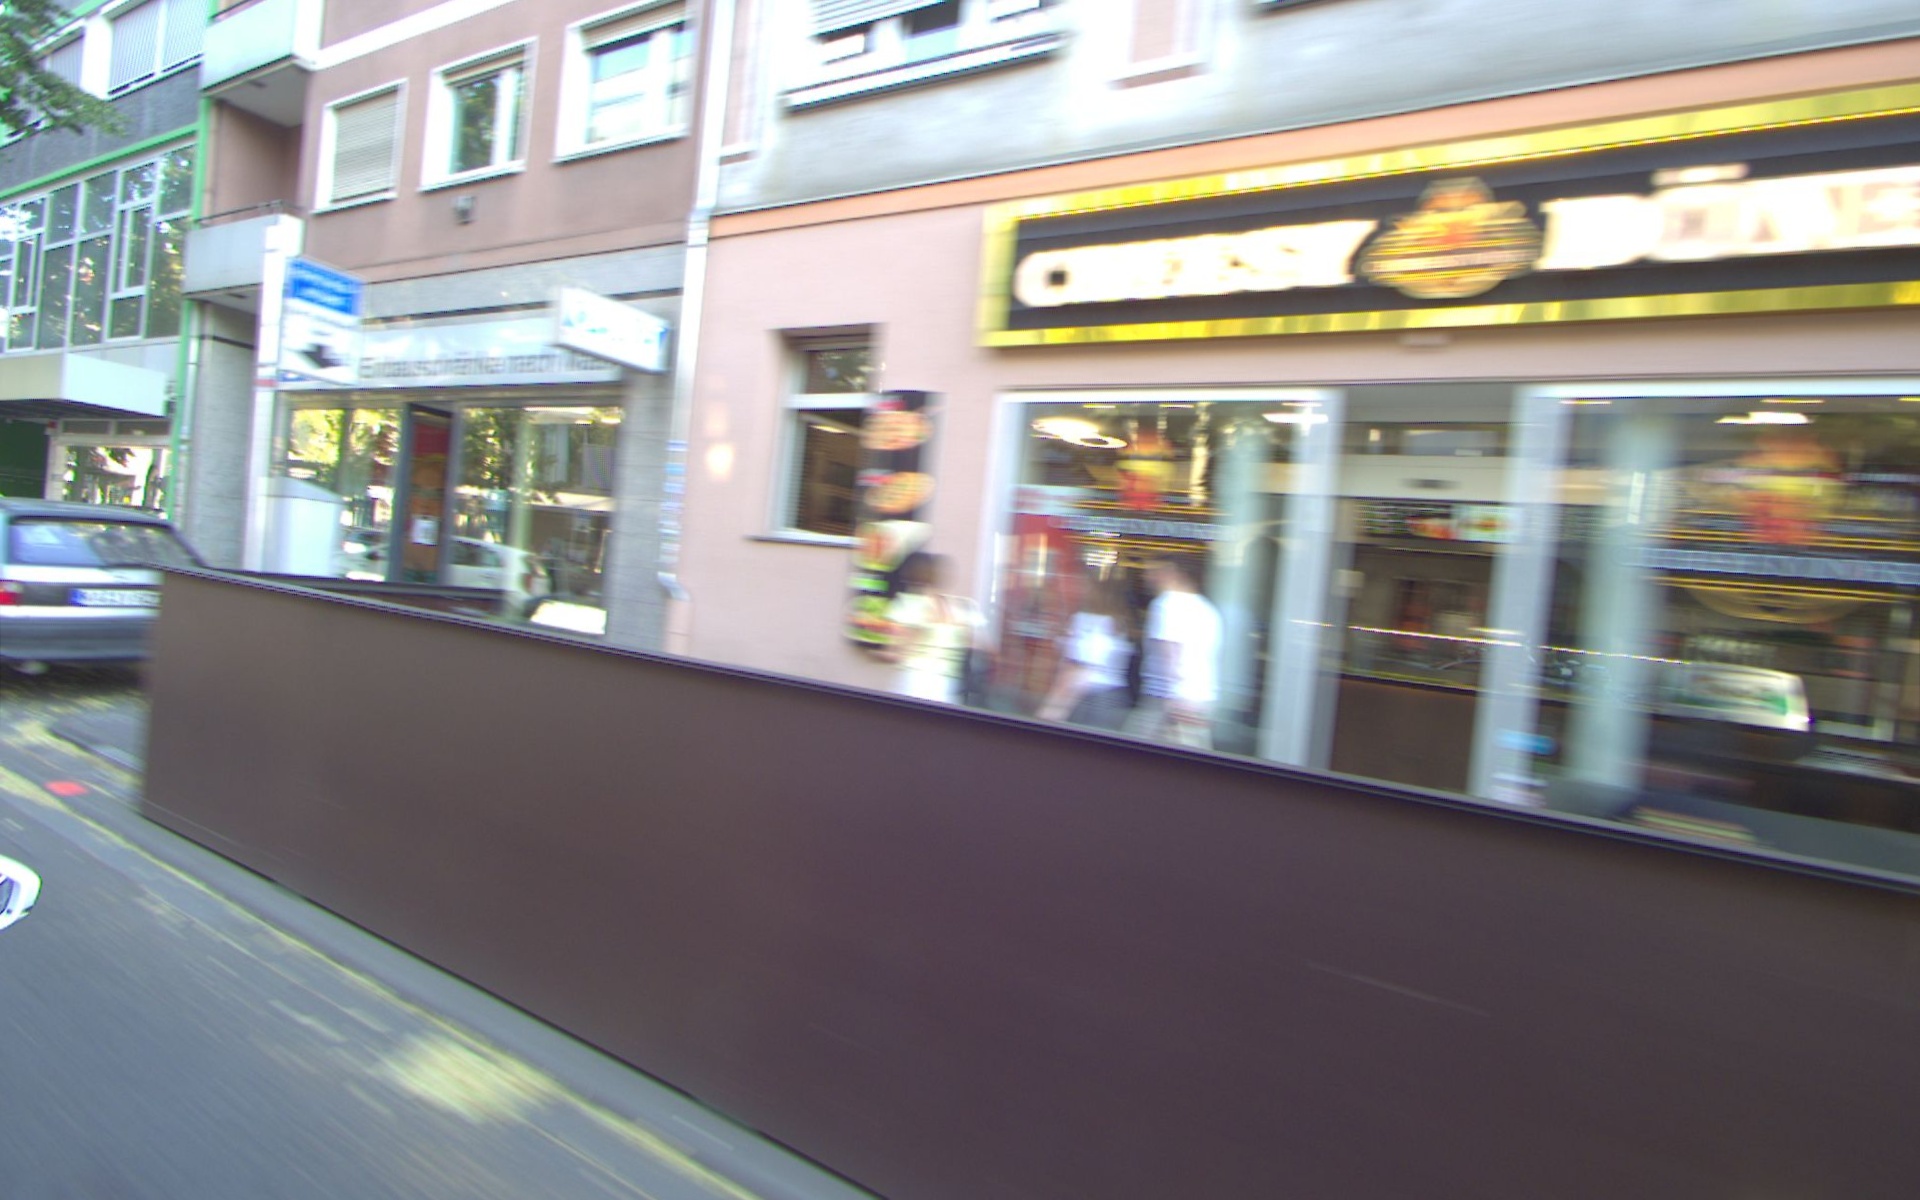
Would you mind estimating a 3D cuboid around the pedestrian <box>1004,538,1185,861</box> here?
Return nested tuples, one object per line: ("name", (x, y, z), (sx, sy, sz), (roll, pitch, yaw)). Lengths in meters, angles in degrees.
("pedestrian", (0.764, 0.530, 5.663), (0.657, 1.652, 0.606), (7, 1, 31))

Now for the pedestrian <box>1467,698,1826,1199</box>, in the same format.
("pedestrian", (1.928, 1.002, 2.896), (0.637, 1.324, 0.685), (7, 3, 33))

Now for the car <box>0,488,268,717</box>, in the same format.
("car", (-7.714, -0.139, 8.457), (3.927, 1.494, 1.823), (7, 4, 34))

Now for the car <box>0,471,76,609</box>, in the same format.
("car", (-11.798, -0.725, 11.131), (1.639, 1.606, 3.607), (4, 3, -17))

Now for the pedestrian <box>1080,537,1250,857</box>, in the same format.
("pedestrian", (1.241, 0.552, 6.058), (0.657, 1.761, 0.606), (7, 1, 31))

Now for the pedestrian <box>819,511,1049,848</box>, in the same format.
("pedestrian", (-0.136, 0.404, 5.569), (0.841, 1.652, 0.747), (7, 1, 31))
